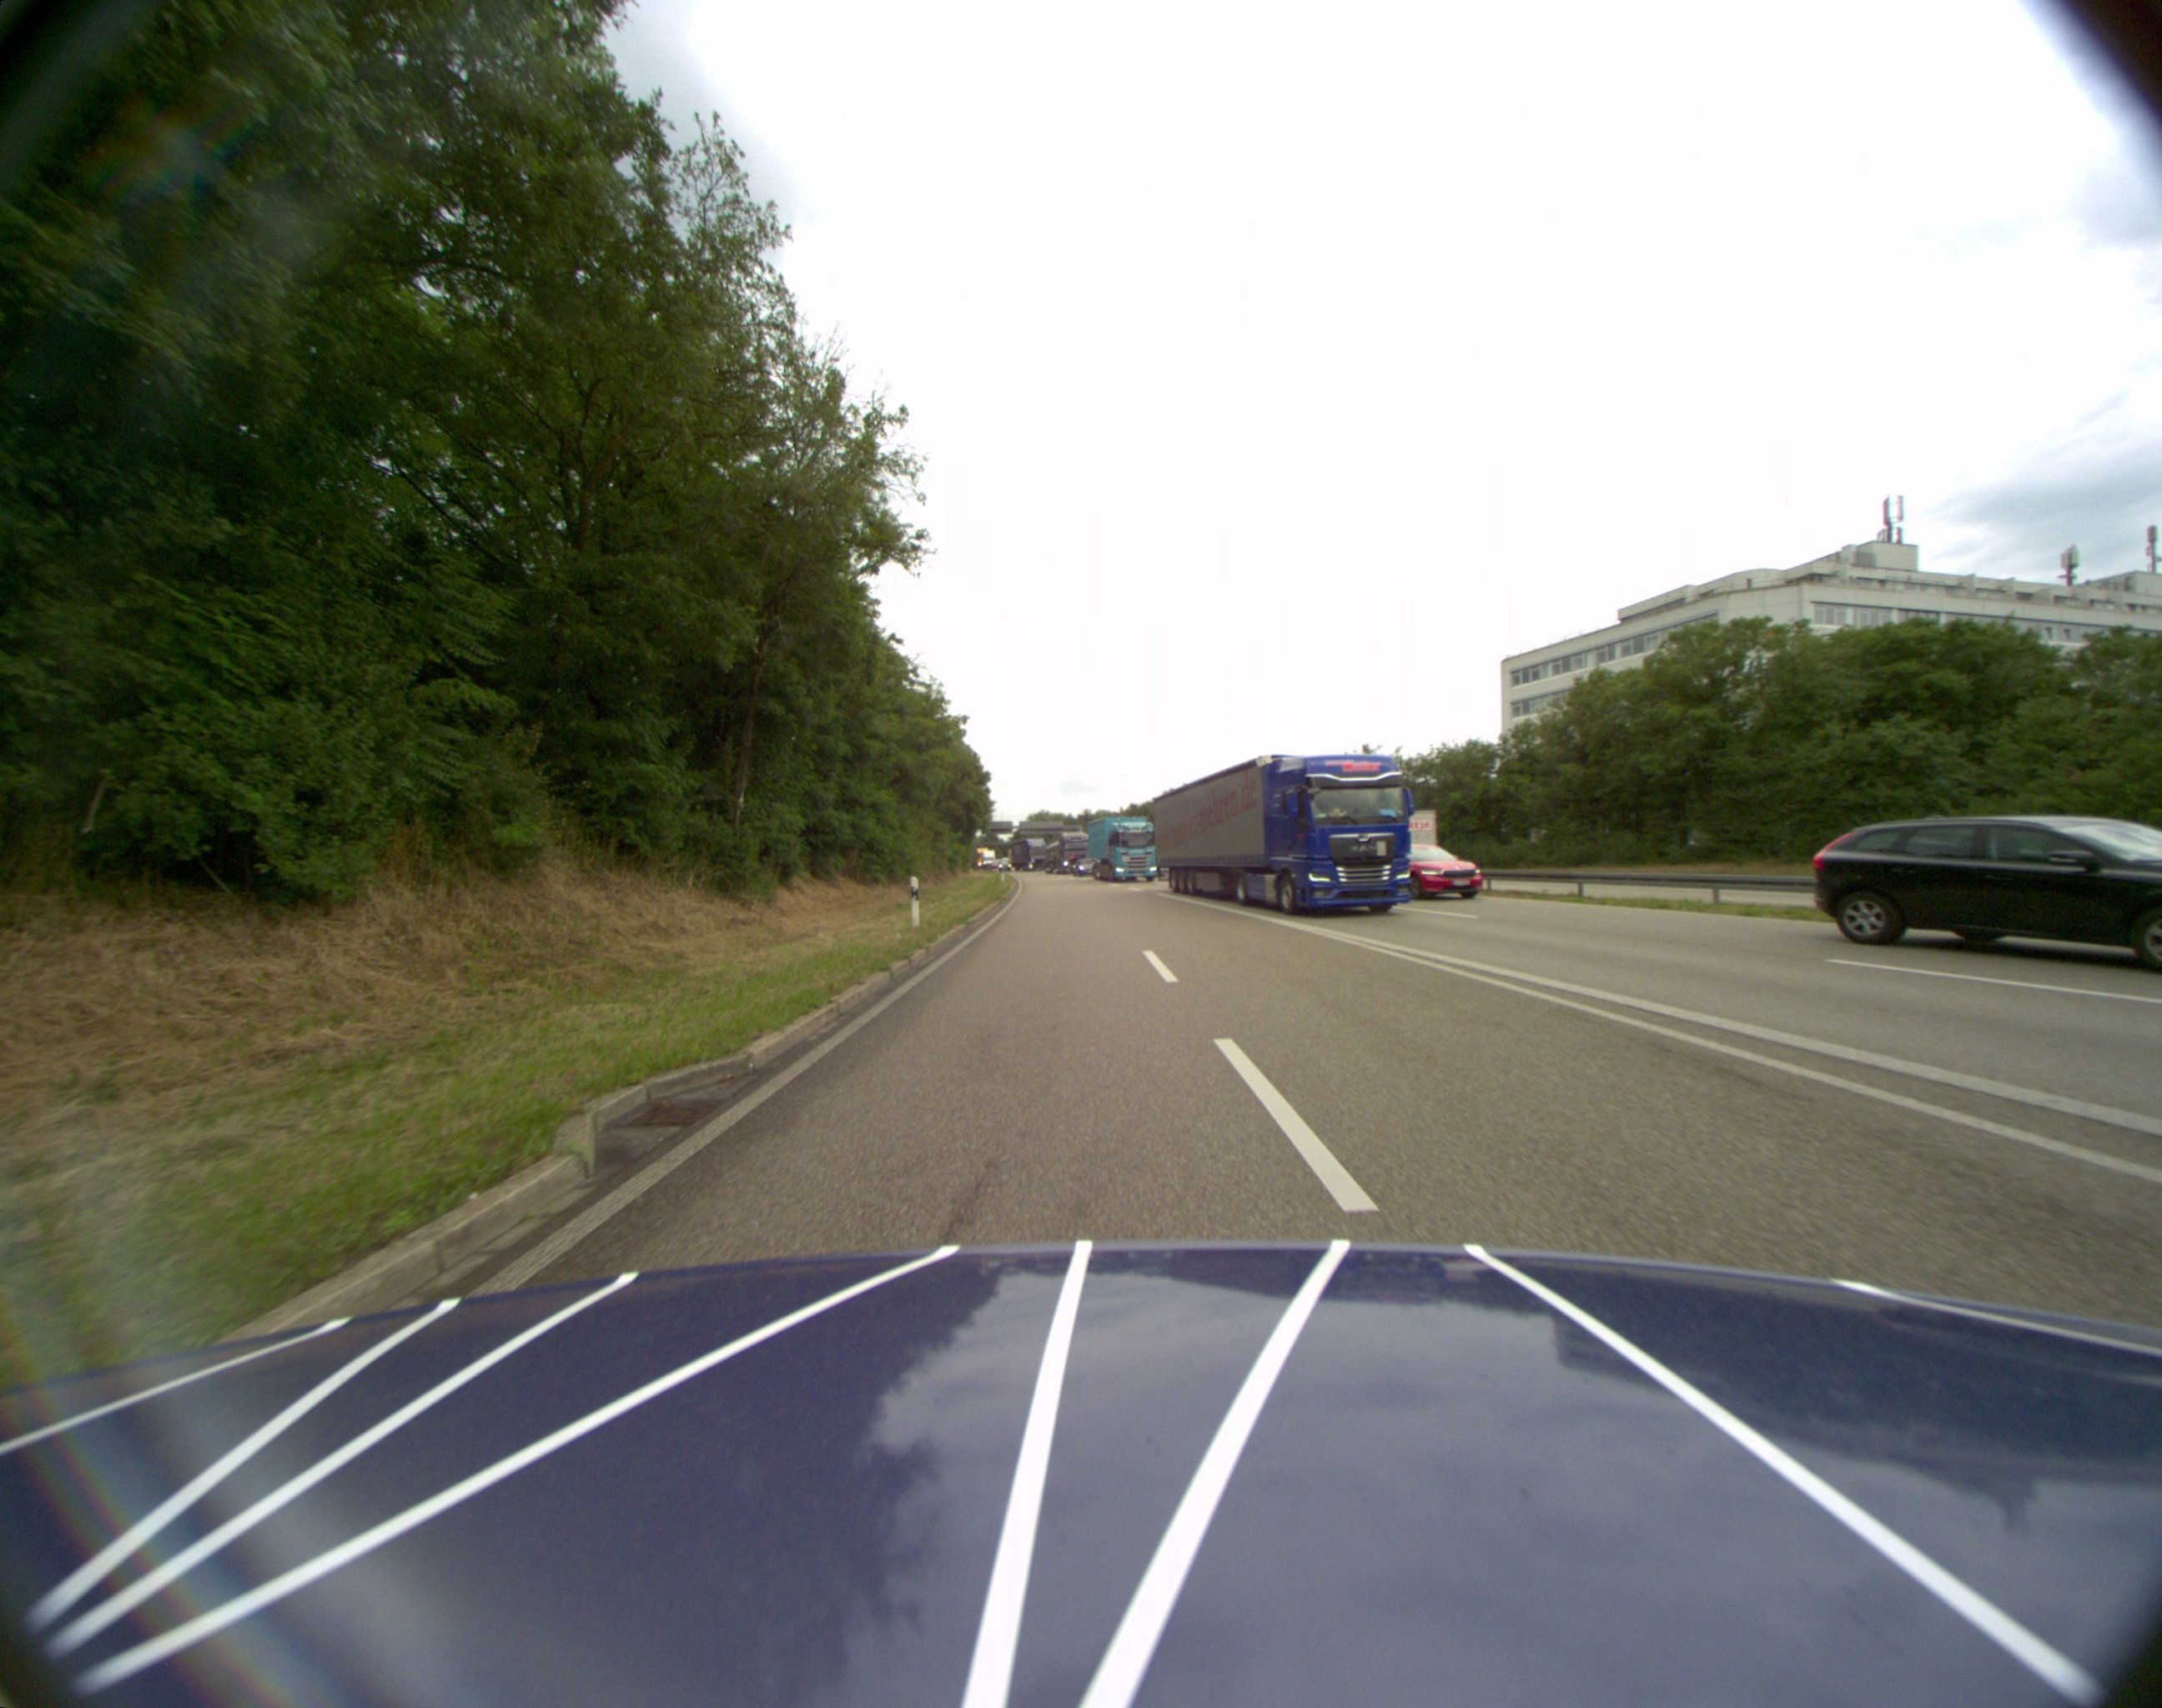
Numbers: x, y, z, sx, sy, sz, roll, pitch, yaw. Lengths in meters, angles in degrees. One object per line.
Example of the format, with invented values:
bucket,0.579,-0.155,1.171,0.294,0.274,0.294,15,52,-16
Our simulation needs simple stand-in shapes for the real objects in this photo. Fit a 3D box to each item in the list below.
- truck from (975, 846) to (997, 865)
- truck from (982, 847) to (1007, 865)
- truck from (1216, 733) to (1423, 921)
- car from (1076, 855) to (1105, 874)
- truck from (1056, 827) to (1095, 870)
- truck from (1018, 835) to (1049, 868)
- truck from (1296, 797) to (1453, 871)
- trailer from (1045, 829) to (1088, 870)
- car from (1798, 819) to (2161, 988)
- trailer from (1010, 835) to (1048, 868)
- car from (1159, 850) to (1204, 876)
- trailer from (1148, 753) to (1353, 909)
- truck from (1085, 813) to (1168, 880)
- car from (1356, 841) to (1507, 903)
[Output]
truck,-20.888,0.327,166.248,3.369,4.041,10.170,-3,1,-15
truck,-15.689,0.353,137.690,3.369,3.099,7.230,-3,1,-15
truck,5.813,-0.622,19.844,2.569,4.019,6.584,-3,1,-7
car,0.717,0.806,60.328,1.753,1.413,3.661,-1,0,-7
truck,-0.621,-0.489,71.465,2.692,3.884,6.930,-1,0,-9
truck,-6.050,-0.332,95.918,2.964,3.946,7.463,-1,0,-11
truck,18.522,-1.136,49.855,2.994,4.066,14.878,-1,0,-6
trailer,-1.652,-0.443,77.950,2.692,3.884,10.977,-1,0,-10
car,11.297,0.468,8.583,1.751,1.645,4.681,-1,0,-4
trailer,-7.000,-0.312,100.641,2.848,4.013,13.070,-3,1,-13
car,6.618,0.580,50.482,2.000,1.562,3.997,-1,0,-8
trailer,5.081,-0.656,26.683,2.634,3.999,13.454,-3,1,-6
truck,2.614,-0.421,48.556,2.939,3.774,11.322,-1,0,-8
car,10.198,0.492,22.581,1.999,1.609,4.786,-1,0,-4
